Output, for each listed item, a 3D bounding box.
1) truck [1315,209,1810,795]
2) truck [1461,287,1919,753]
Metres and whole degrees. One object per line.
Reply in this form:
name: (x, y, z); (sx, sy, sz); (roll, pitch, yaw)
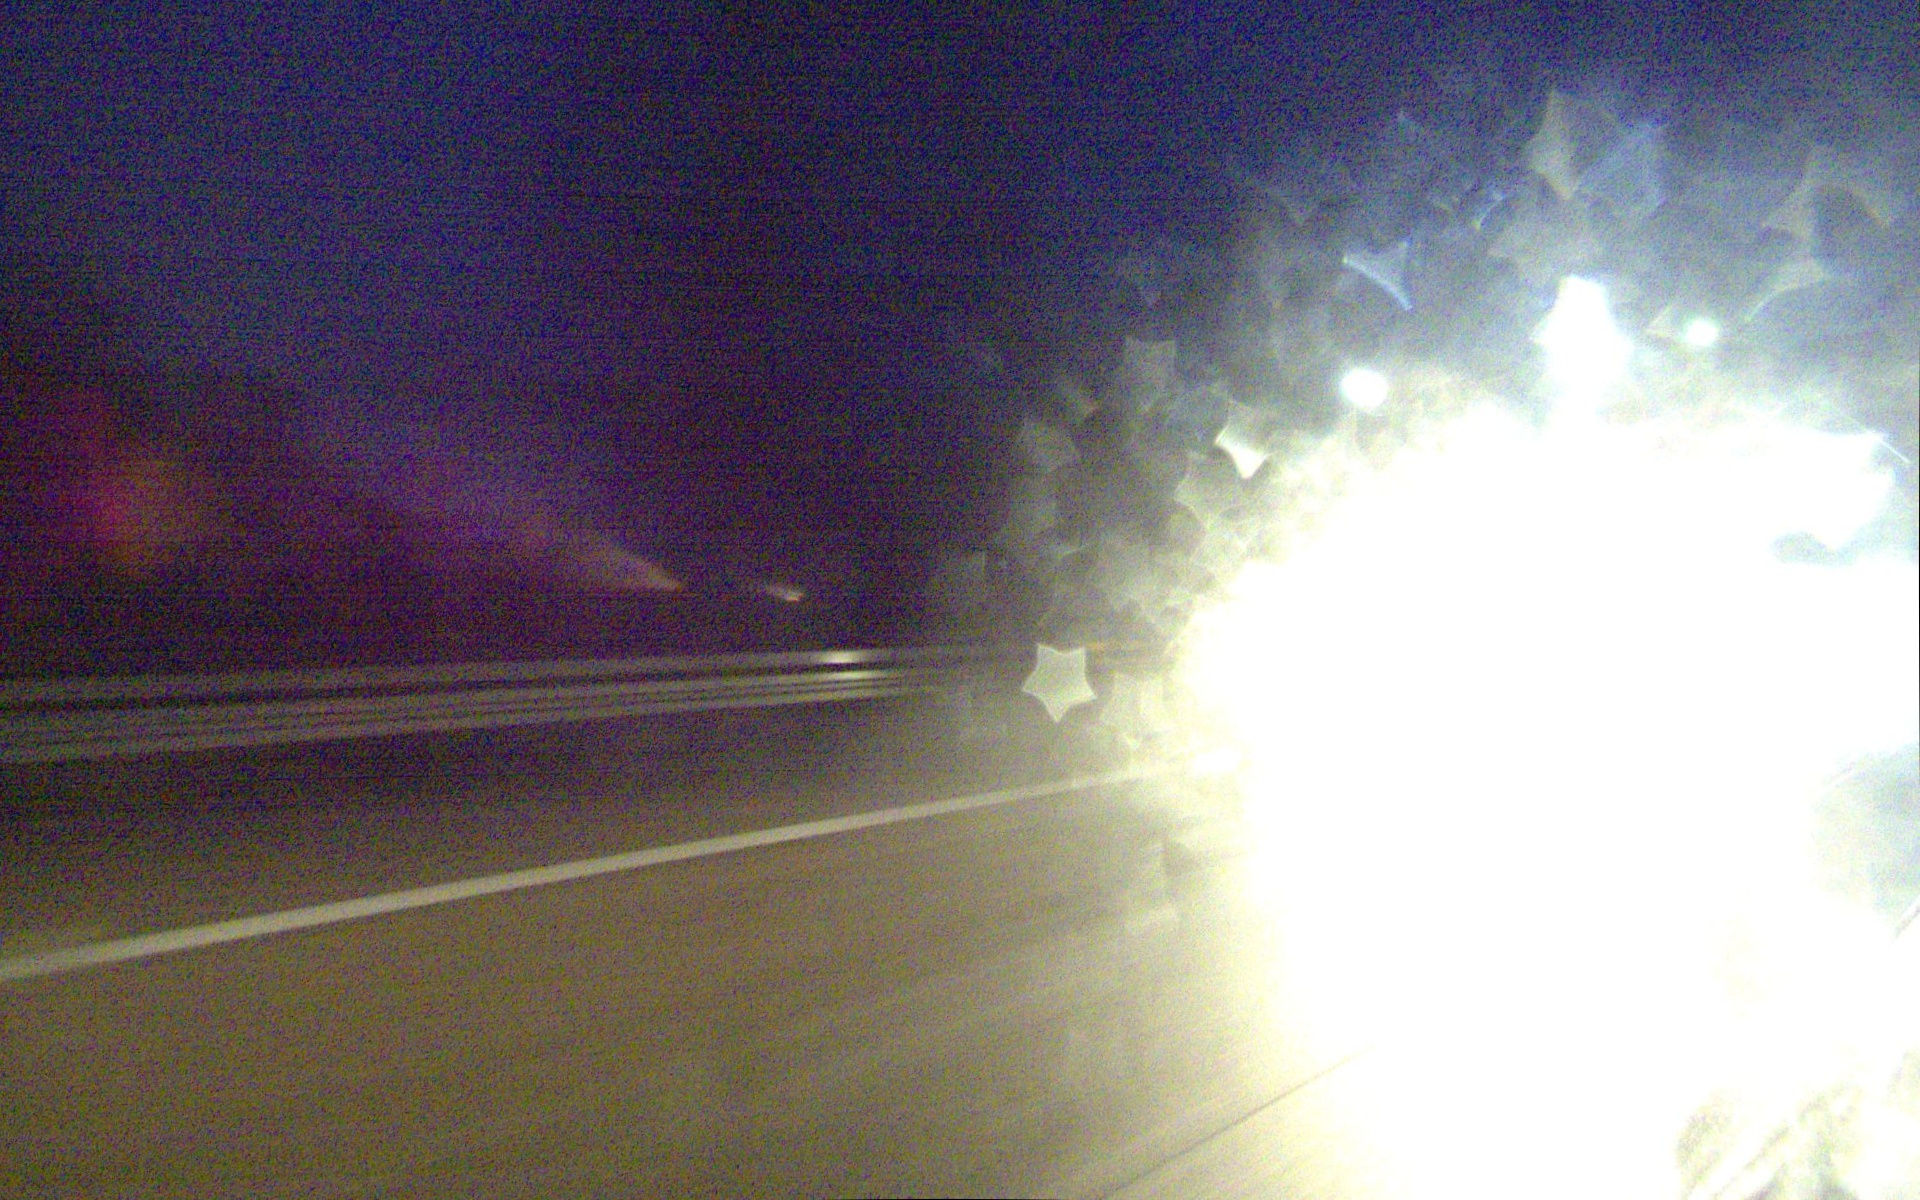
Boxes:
truck: (6.343, -0.757, 10.283); (5.876, 4.301, 2.502); (-1, 0, -40)
truck: (11.510, -0.808, 14.606); (13.401, 4.301, 2.502); (-1, 0, -40)
